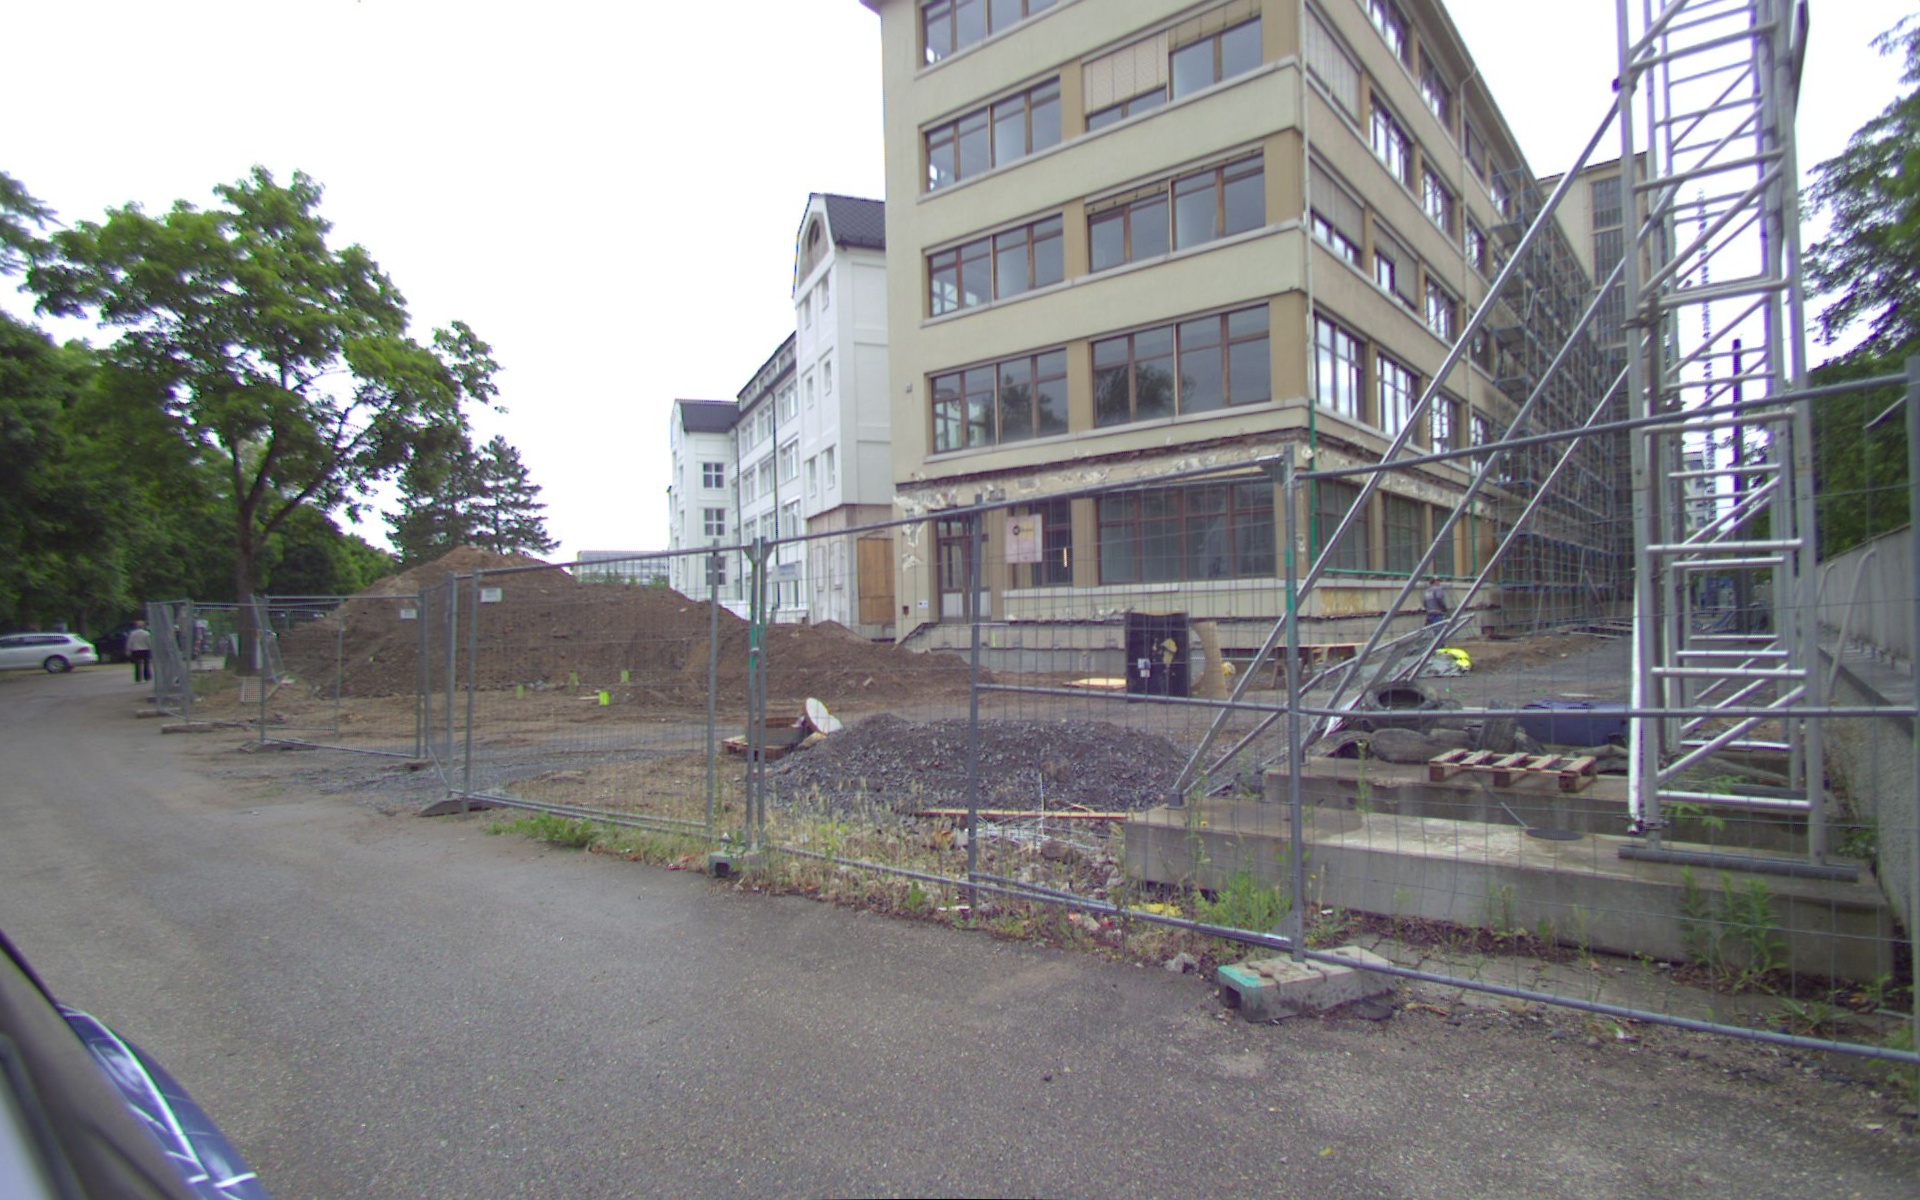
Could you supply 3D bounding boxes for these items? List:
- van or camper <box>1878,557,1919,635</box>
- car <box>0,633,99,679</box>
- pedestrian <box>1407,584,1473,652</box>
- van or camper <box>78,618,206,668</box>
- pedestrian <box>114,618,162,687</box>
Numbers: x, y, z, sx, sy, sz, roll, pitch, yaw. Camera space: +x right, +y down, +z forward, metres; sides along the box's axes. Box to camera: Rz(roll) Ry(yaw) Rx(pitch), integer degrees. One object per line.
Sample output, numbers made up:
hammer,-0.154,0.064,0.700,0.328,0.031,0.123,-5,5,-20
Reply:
van or camper,35.772,-0.159,37.776,2.001,2.773,3.942,-2,-1,44
car,-34.295,2.053,37.222,3.822,1.587,1.756,-1,-1,-35
pedestrian,10.533,0.399,22.227,0.916,1.448,0.984,0,-2,-40
van or camper,-39.350,2.042,48.848,4.423,2.275,2.006,-1,-1,-23
pedestrian,-21.825,1.377,26.883,0.657,1.795,0.747,-2,-1,16
